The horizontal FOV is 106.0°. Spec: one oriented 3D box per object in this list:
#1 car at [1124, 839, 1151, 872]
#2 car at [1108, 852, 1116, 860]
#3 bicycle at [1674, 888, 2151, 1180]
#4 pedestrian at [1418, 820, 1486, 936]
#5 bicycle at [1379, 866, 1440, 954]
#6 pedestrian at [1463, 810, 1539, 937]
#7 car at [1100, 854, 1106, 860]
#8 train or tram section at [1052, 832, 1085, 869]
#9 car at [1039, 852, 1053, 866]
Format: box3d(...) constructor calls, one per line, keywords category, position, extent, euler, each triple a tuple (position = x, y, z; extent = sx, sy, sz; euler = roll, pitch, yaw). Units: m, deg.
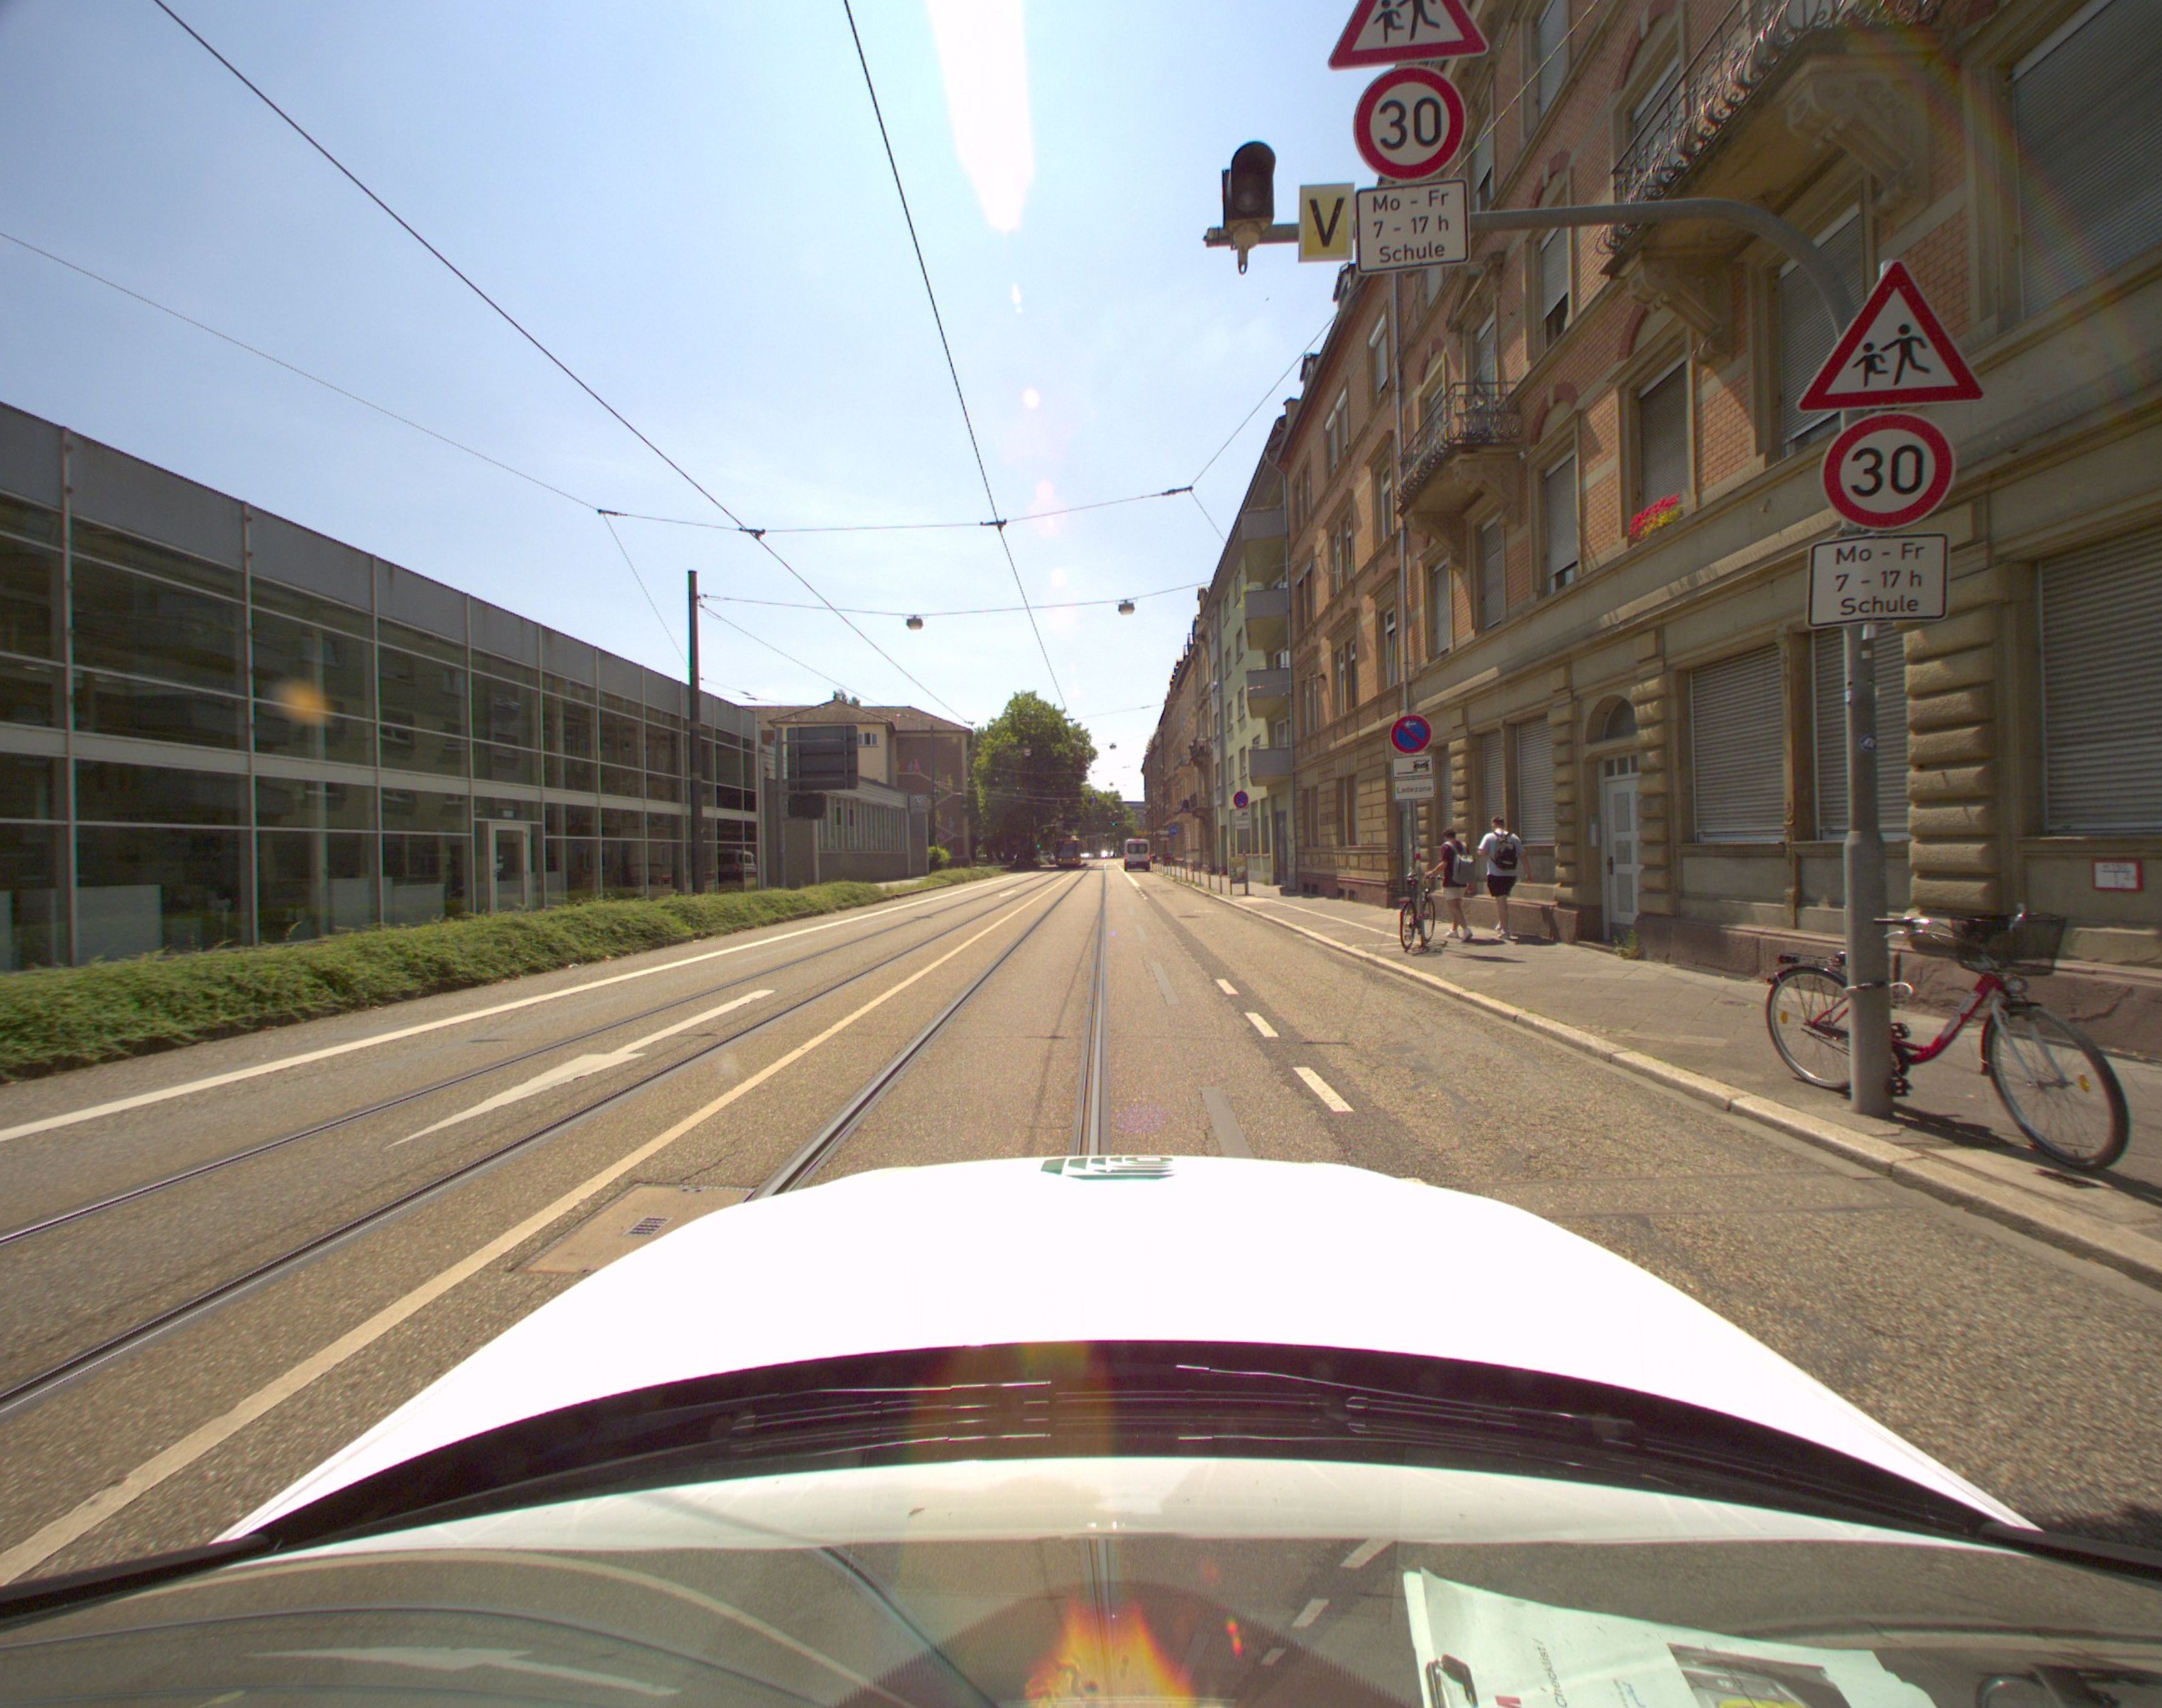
box3d(category="car", position=(4.537, 0.115, 65.795), extent=(2.059, 2.501, 5.458), euler=(0, 0, 3))
box3d(category="car", position=(7.866, 0.479, 205.236), extent=(1.669, 1.860, 3.998), euler=(0, 0, -1))
box3d(category="bicycle", position=(4.325, 0.799, 4.587), extent=(0.445, 1.097, 2.428), euler=(-2, 0, 7))
box3d(category="pedestrian", position=(5.702, 0.365, 12.547), extent=(0.717, 1.720, 0.644), euler=(-2, 0, 2))
box3d(category="bicycle", position=(4.950, 0.786, 12.193), extent=(0.494, 1.130, 2.257), euler=(-2, 0, 30))
box3d(category="pedestrian", position=(6.425, 0.286, 12.496), extent=(0.699, 1.849, 0.644), euler=(-5, 0, 3))
box3d(category="car", position=(5.362, 0.701, 198.102), extent=(1.523, 1.408, 3.488), euler=(-1, 0, 0))
box3d(category="train or tram section", position=(-1.257, -0.355, 88.318), extent=(2.950, 3.580, 13.427), euler=(-1, 0, 1))
box3d(category="car", position=(-5.013, 0.685, 116.086), extent=(1.795, 1.923, 3.999), euler=(-1, 0, 0))
